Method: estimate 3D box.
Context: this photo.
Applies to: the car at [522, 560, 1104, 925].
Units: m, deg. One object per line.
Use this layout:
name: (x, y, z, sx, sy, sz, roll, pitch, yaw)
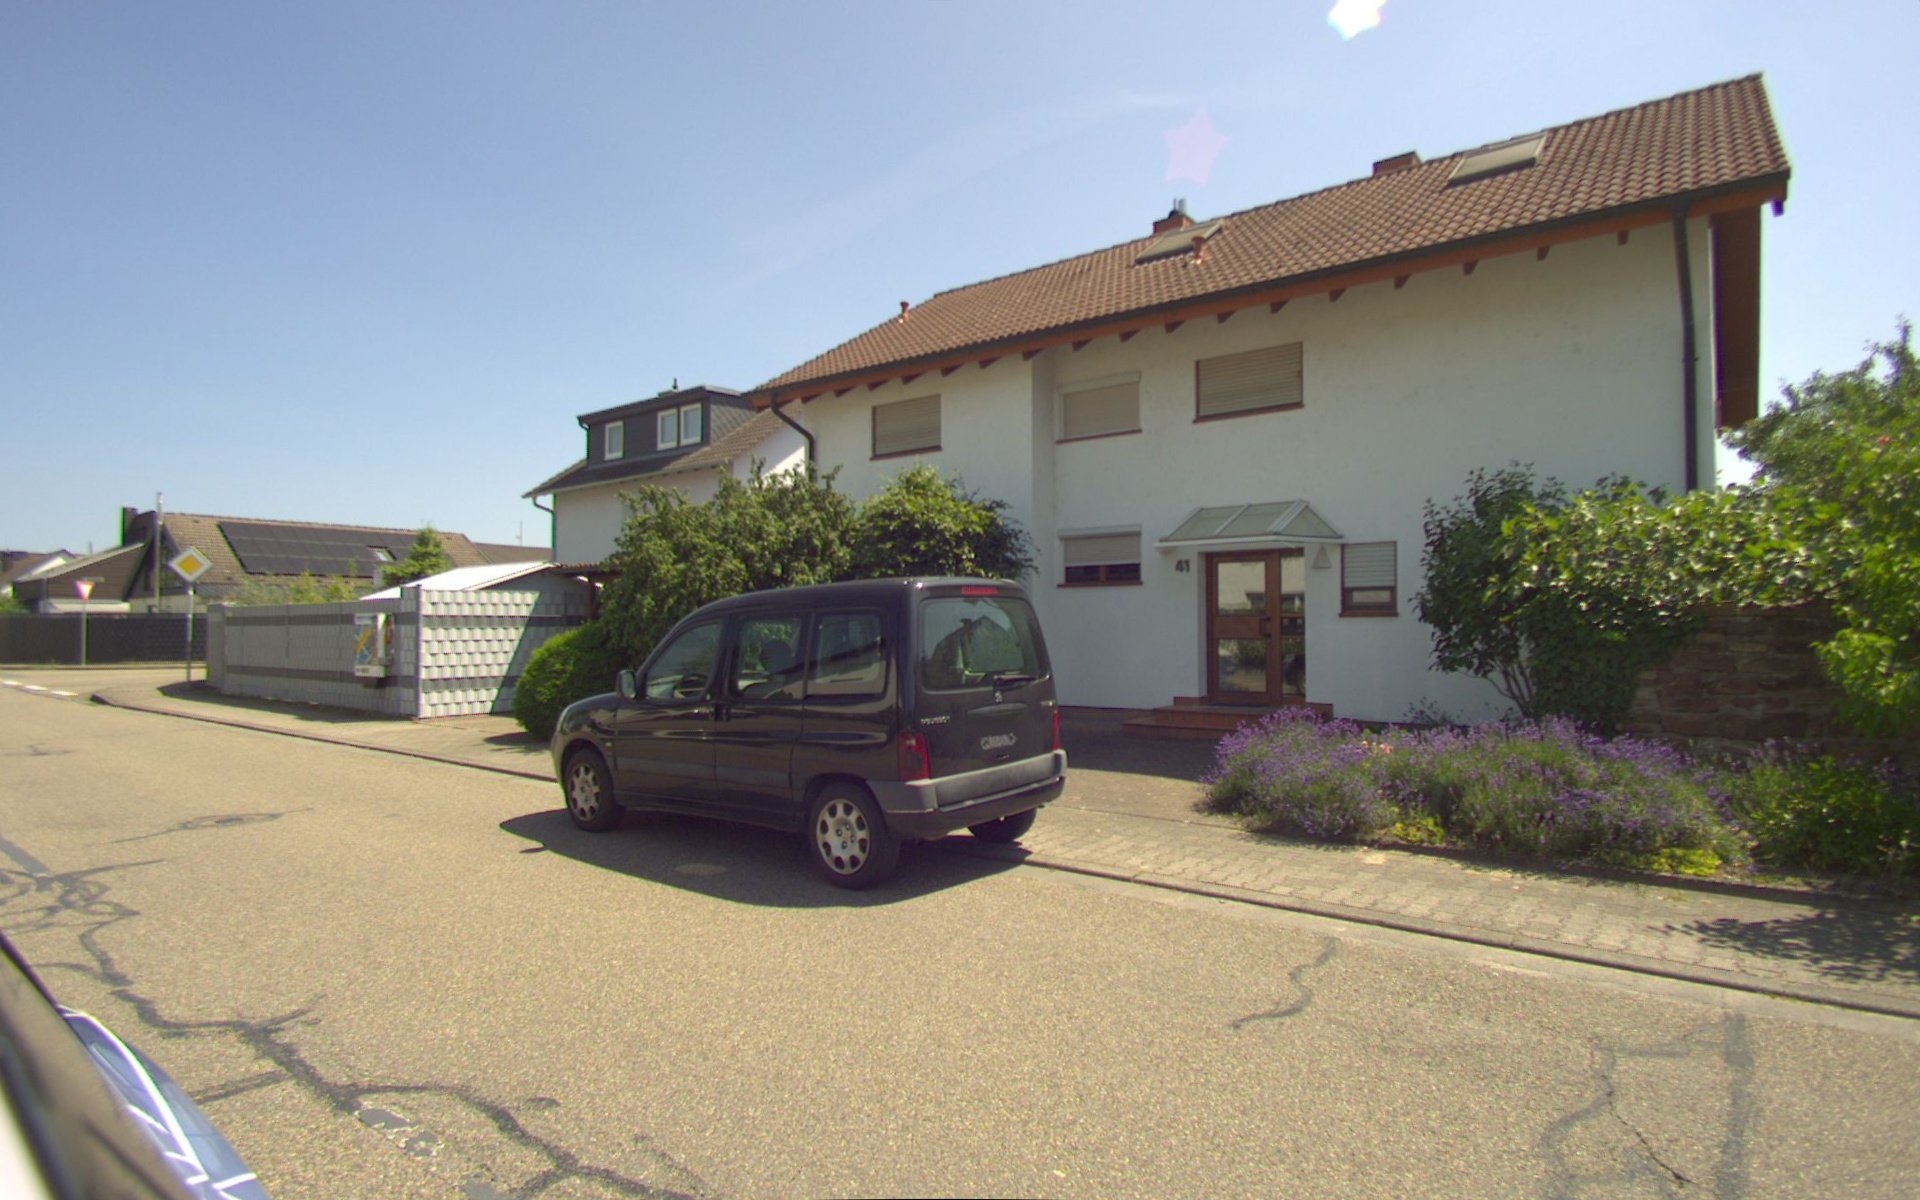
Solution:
car: (-1.189, 0.784, 7.097, 4.048, 1.860, 1.702, -2, -2, 37)
